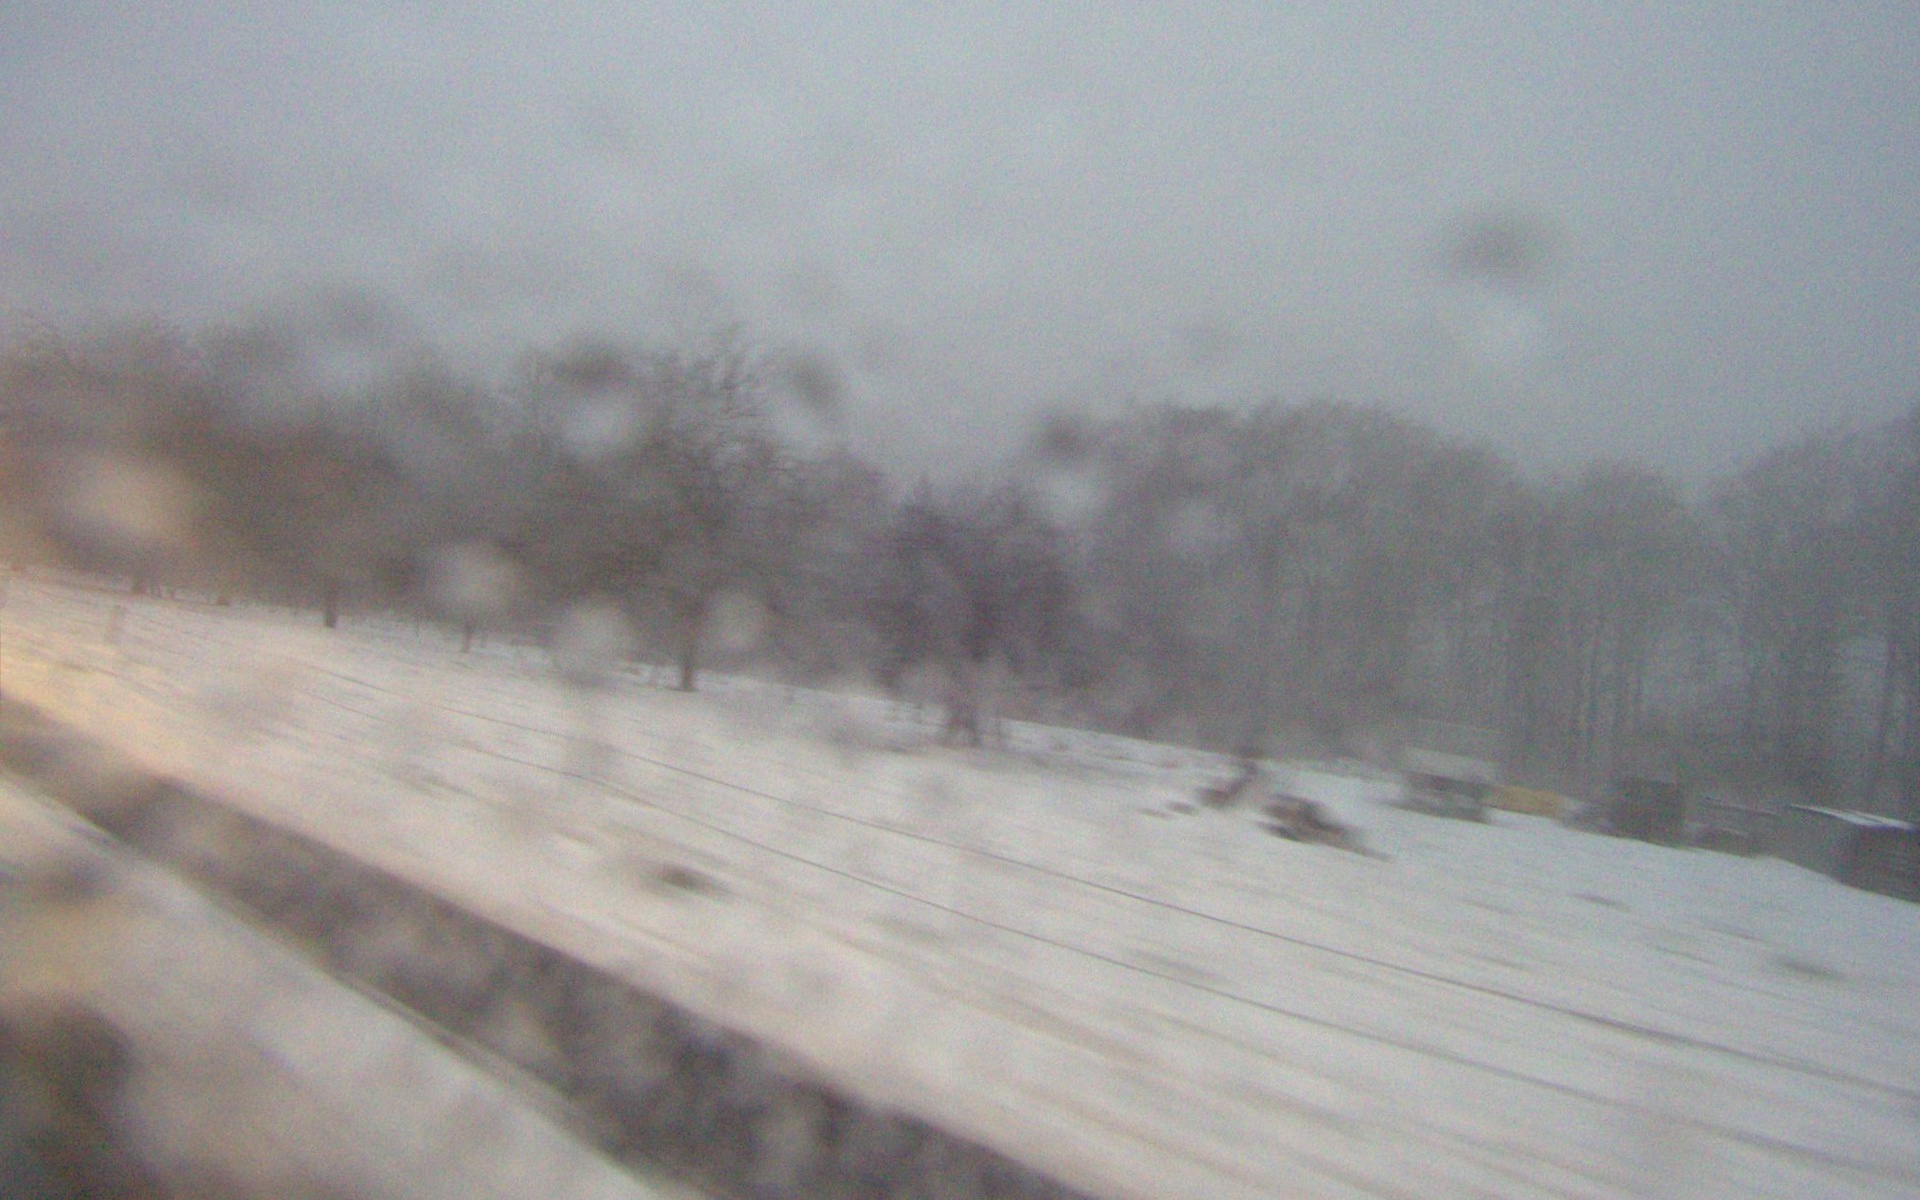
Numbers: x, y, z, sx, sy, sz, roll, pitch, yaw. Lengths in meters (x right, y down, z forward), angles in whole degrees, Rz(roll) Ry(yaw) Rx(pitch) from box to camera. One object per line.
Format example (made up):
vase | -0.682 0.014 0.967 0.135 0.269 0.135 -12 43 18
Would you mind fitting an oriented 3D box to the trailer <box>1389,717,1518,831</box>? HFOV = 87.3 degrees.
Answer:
trailer | 11.279 3.890 23.115 2.185 1.963 4.760 8 -3 26
